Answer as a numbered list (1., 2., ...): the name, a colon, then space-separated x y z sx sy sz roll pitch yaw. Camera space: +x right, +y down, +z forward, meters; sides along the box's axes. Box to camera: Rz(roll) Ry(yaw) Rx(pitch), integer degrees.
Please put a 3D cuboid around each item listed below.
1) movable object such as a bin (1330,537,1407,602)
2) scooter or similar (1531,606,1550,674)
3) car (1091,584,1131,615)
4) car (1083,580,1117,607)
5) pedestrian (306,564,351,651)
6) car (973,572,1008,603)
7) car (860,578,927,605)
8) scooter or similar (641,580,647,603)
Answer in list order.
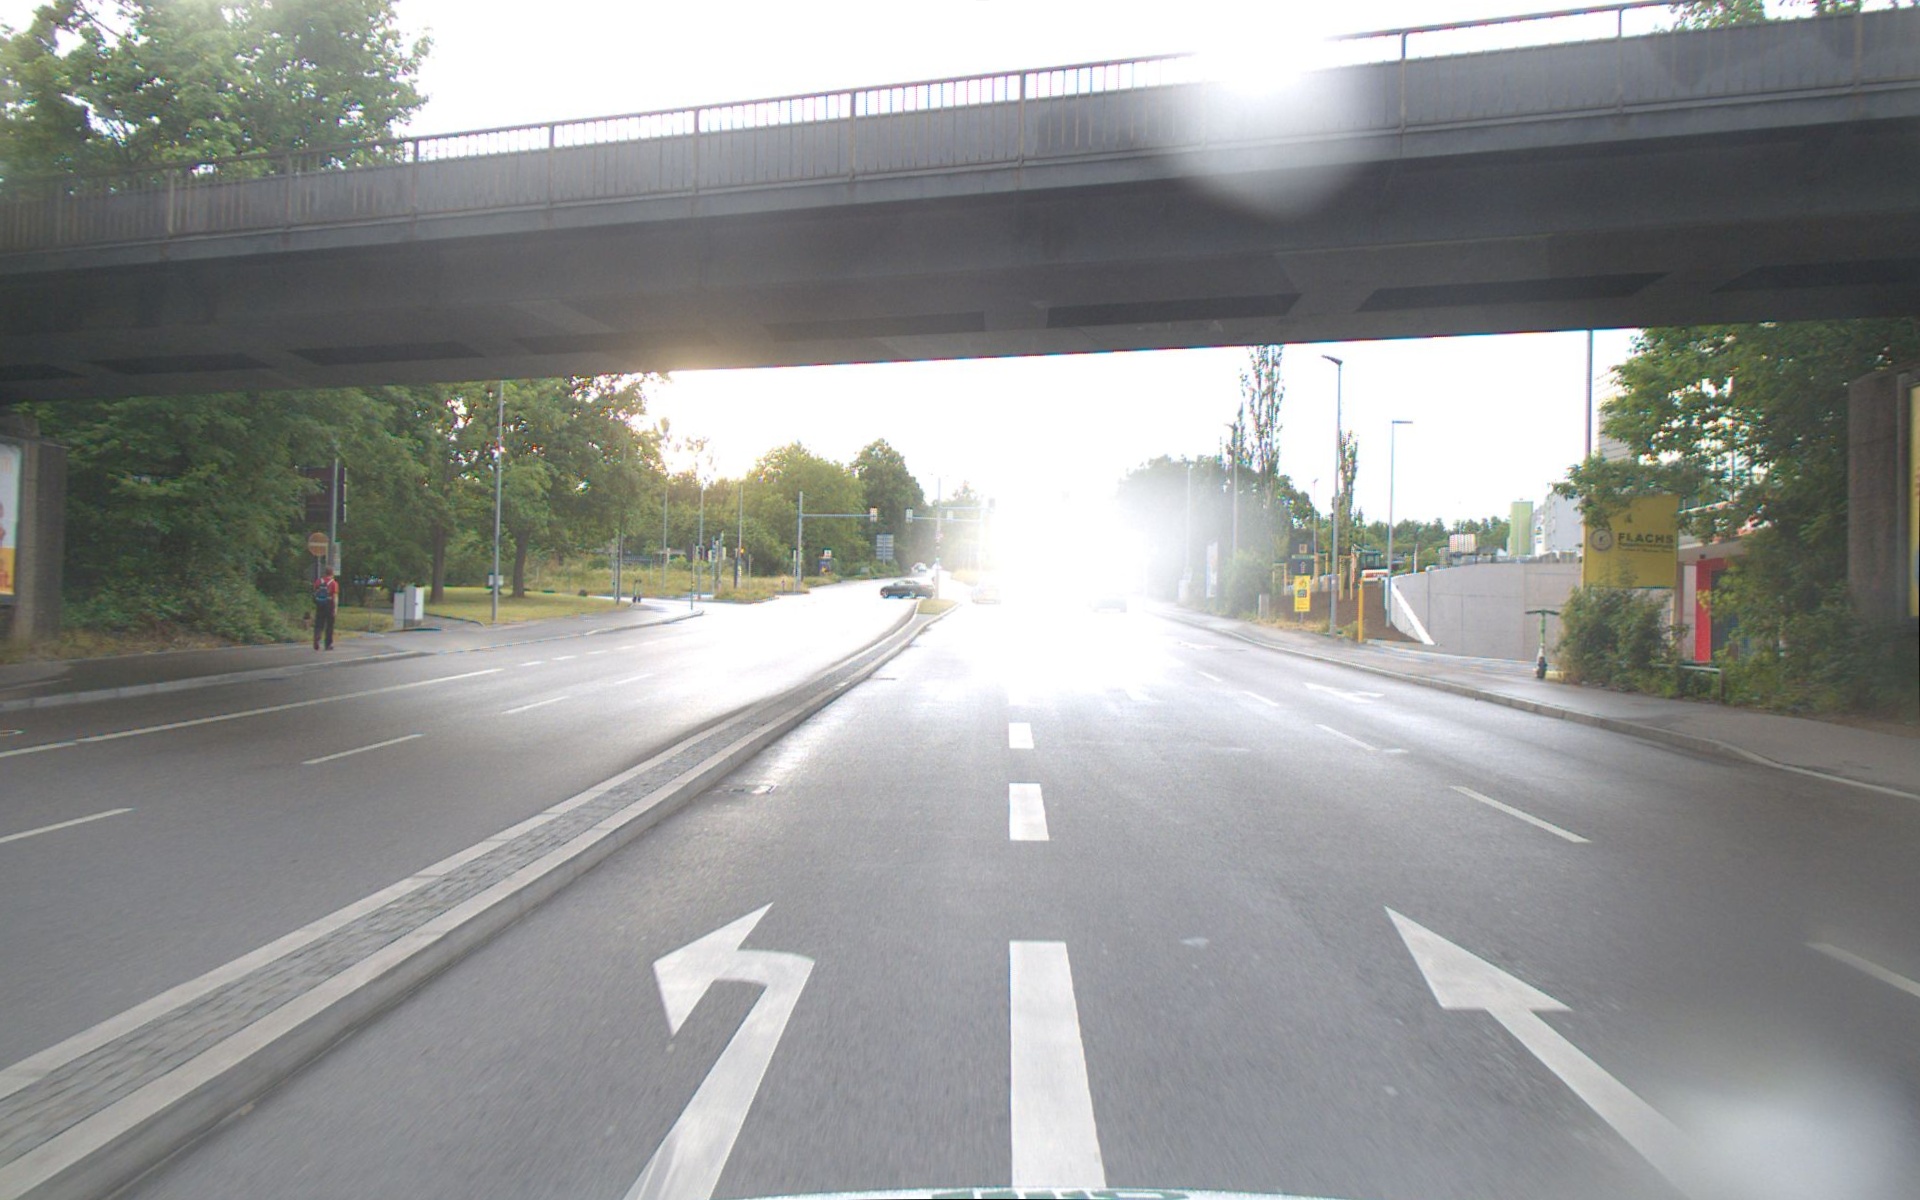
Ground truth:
1. movable object such as a bin: 21.979 -1.655 89.264 2.257 3.333 5.418 1 1 -6
2. scooter or similar: 10.083 0.685 28.747 0.250 1.149 1.280 2 0 18
3. car: 7.832 -0.025 86.065 1.709 1.495 4.167 2 1 1
4. car: 8.191 -0.387 96.968 1.709 1.495 4.167 2 1 1
5. pedestrian: -13.538 0.155 35.450 0.508 1.847 0.800 1 0 12
6. car: 1.881 -0.790 104.232 2.034 1.748 4.198 3 -1 0
7. car: -4.675 -0.573 115.655 4.557 1.610 2.171 3 -1 -4
8. scooter or similar: -17.523 -0.476 91.671 0.306 1.239 1.304 1 1 -12
